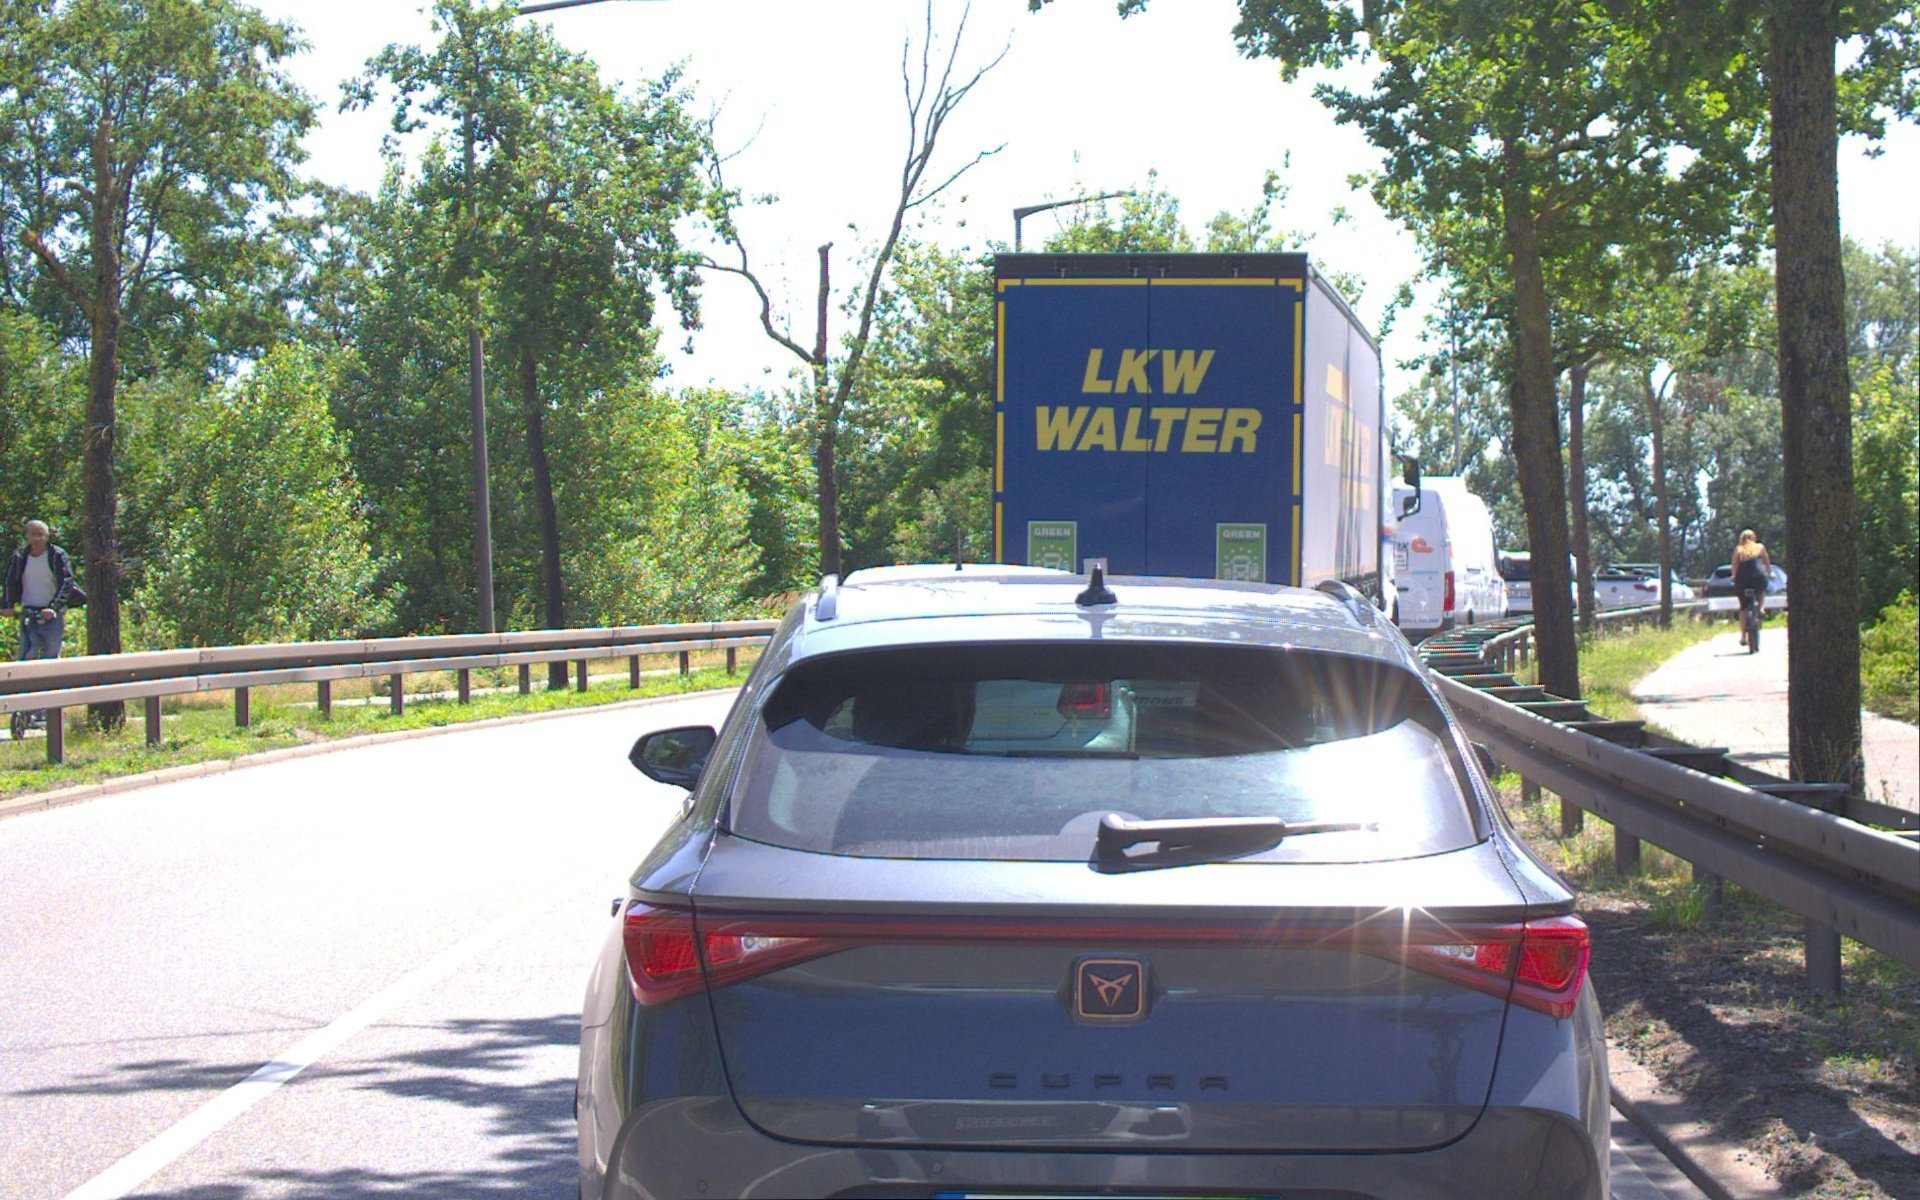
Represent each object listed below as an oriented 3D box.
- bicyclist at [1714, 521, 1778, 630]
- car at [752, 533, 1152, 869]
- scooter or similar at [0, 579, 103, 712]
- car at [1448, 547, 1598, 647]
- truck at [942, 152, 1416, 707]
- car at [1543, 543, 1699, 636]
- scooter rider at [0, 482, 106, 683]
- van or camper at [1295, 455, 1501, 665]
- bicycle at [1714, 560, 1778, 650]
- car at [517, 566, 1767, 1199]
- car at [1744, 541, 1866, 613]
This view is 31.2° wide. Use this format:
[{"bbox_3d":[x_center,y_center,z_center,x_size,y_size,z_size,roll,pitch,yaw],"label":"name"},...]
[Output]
[{"bbox_3d":[11.198,-0.348,48.990,0.861,1.518,0.979,1,0,13],"label":"bicyclist"},{"bbox_3d":[0.058,0.441,17.679,1.809,1.503,4.000,1,1,3],"label":"car"},{"bbox_3d":[-7.844,0.373,29.075,0.777,1.087,1.095,1,0,9],"label":"scooter or similar"},{"bbox_3d":[10.150,-0.068,61.758,1.995,1.706,4.616,1,1,17],"label":"car"},{"bbox_3d":[2.845,-1.438,35.994,2.951,4.433,16.790,1,1,10],"label":"truck"},{"bbox_3d":[13.488,-0.214,69.913,1.996,1.802,4.839,1,1,25],"label":"car"},{"bbox_3d":[-7.821,-0.152,29.054,0.777,1.651,1.120,1,0,9],"label":"scooter rider"},{"bbox_3d":[6.758,-0.601,52.391,2.468,2.988,6.082,1,1,13],"label":"van or camper"},{"bbox_3d":[11.211,0.063,49.061,0.861,1.232,2.308,1,1,13],"label":"bicycle"},{"bbox_3d":[0.188,0.658,6.757,1.744,1.427,3.880,1,1,-2],"label":"car"},{"bbox_3d":[21.585,-0.576,87.679,1.996,1.762,4.748,1,1,26],"label":"car"}]
